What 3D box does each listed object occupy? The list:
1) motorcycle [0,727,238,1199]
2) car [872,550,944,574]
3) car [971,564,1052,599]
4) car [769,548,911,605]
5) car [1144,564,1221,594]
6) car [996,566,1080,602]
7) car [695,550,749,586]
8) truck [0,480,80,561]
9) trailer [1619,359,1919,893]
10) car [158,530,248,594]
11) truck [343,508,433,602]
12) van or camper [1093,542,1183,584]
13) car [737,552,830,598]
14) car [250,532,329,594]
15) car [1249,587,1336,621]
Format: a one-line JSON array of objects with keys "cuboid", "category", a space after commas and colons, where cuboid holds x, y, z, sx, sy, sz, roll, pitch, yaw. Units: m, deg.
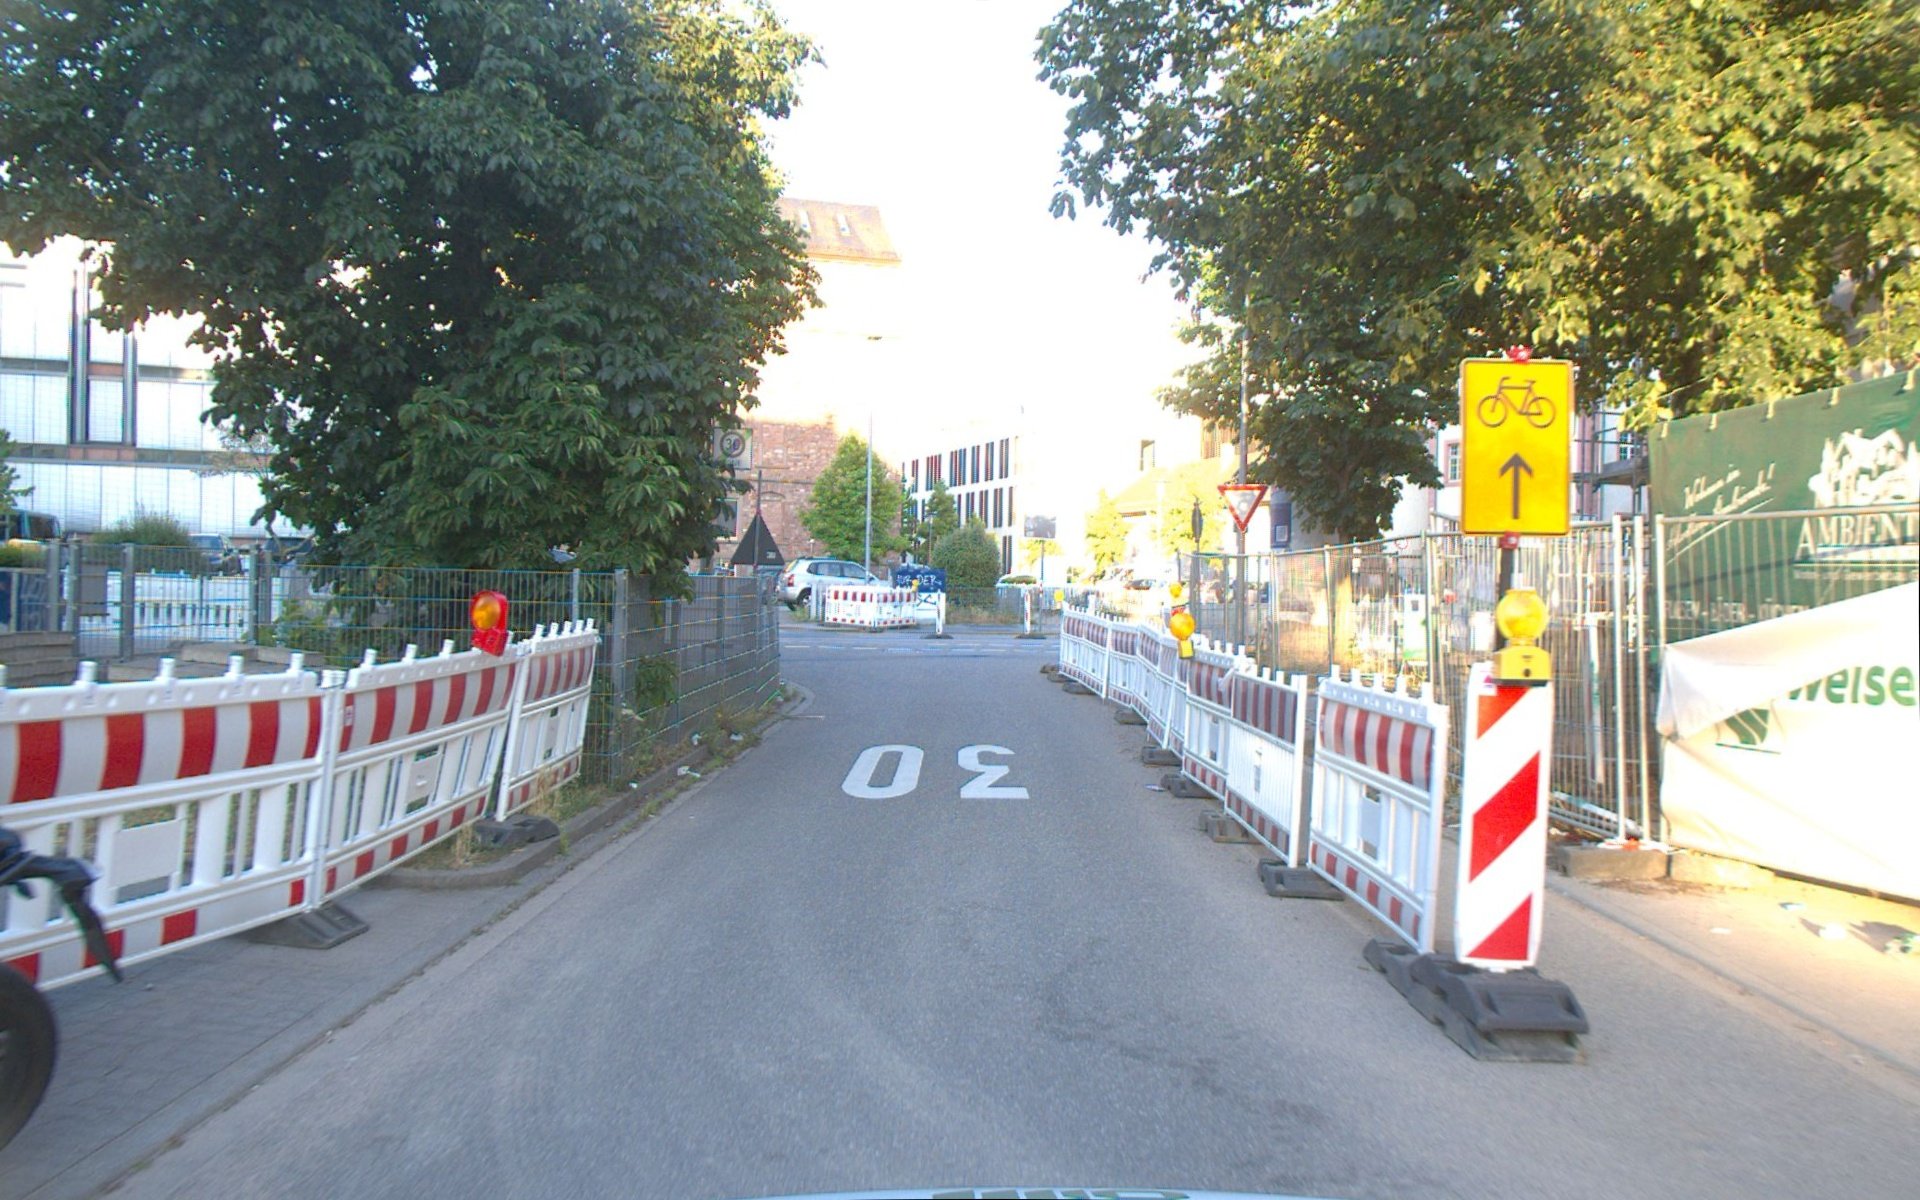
[{"cuboid": [-2.645, 0.858, 3.409, 0.528, 1.038, 2.207, 4, 1, 29], "category": "motorcycle"}, {"cuboid": [-3.089, -2.252, 98.672, 3.926, 1.336, 1.868, 1, 2, -19], "category": "car"}, {"cuboid": [2.554, -0.923, 82.723, 3.687, 1.631, 1.676, 1, 0, -21], "category": "car"}, {"cuboid": [-3.828, -0.739, 52.676, 4.204, 1.738, 1.694, 1, 1, -19], "category": "car"}, {"cuboid": [11.844, -1.110, 88.012, 3.687, 1.470, 1.676, 1, 0, -21], "category": "car"}, {"cuboid": [3.775, -0.782, 79.912, 3.687, 1.631, 1.676, 1, 0, -21], "category": "car"}, {"cuboid": [-11.122, -1.499, 77.023, 1.866, 1.564, 4.160, 1, 1, -17], "category": "car"}, {"cuboid": [-26.351, -2.177, 46.169, 2.070, 2.127, 4.496, 1, 1, -14], "category": "truck"}, {"cuboid": [5.657, 0.108, 9.674, 1.952, 2.584, 4.187, 1, 1, 1], "category": "trailer"}, {"cuboid": [-22.020, -1.100, 48.251, 1.964, 1.757, 4.277, 1, 1, -19], "category": "car"}, {"cuboid": [-17.291, -1.353, 50.172, 2.296, 2.662, 4.951, 1, 1, -16], "category": "truck"}, {"cuboid": [10.277, -2.105, 95.464, 4.891, 2.279, 1.676, 1, 0, -21], "category": "van or camper"}, {"cuboid": [-6.996, -0.993, 65.488, 3.422, 1.738, 1.659, 1, 1, -19], "category": "car"}, {"cuboid": [-19.933, -1.100, 49.310, 1.964, 1.721, 3.978, 1, 1, -19], "category": "car"}, {"cuboid": [15.647, 0.188, 77.855, 3.687, 1.555, 1.676, 1, 0, -21], "category": "car"}]
